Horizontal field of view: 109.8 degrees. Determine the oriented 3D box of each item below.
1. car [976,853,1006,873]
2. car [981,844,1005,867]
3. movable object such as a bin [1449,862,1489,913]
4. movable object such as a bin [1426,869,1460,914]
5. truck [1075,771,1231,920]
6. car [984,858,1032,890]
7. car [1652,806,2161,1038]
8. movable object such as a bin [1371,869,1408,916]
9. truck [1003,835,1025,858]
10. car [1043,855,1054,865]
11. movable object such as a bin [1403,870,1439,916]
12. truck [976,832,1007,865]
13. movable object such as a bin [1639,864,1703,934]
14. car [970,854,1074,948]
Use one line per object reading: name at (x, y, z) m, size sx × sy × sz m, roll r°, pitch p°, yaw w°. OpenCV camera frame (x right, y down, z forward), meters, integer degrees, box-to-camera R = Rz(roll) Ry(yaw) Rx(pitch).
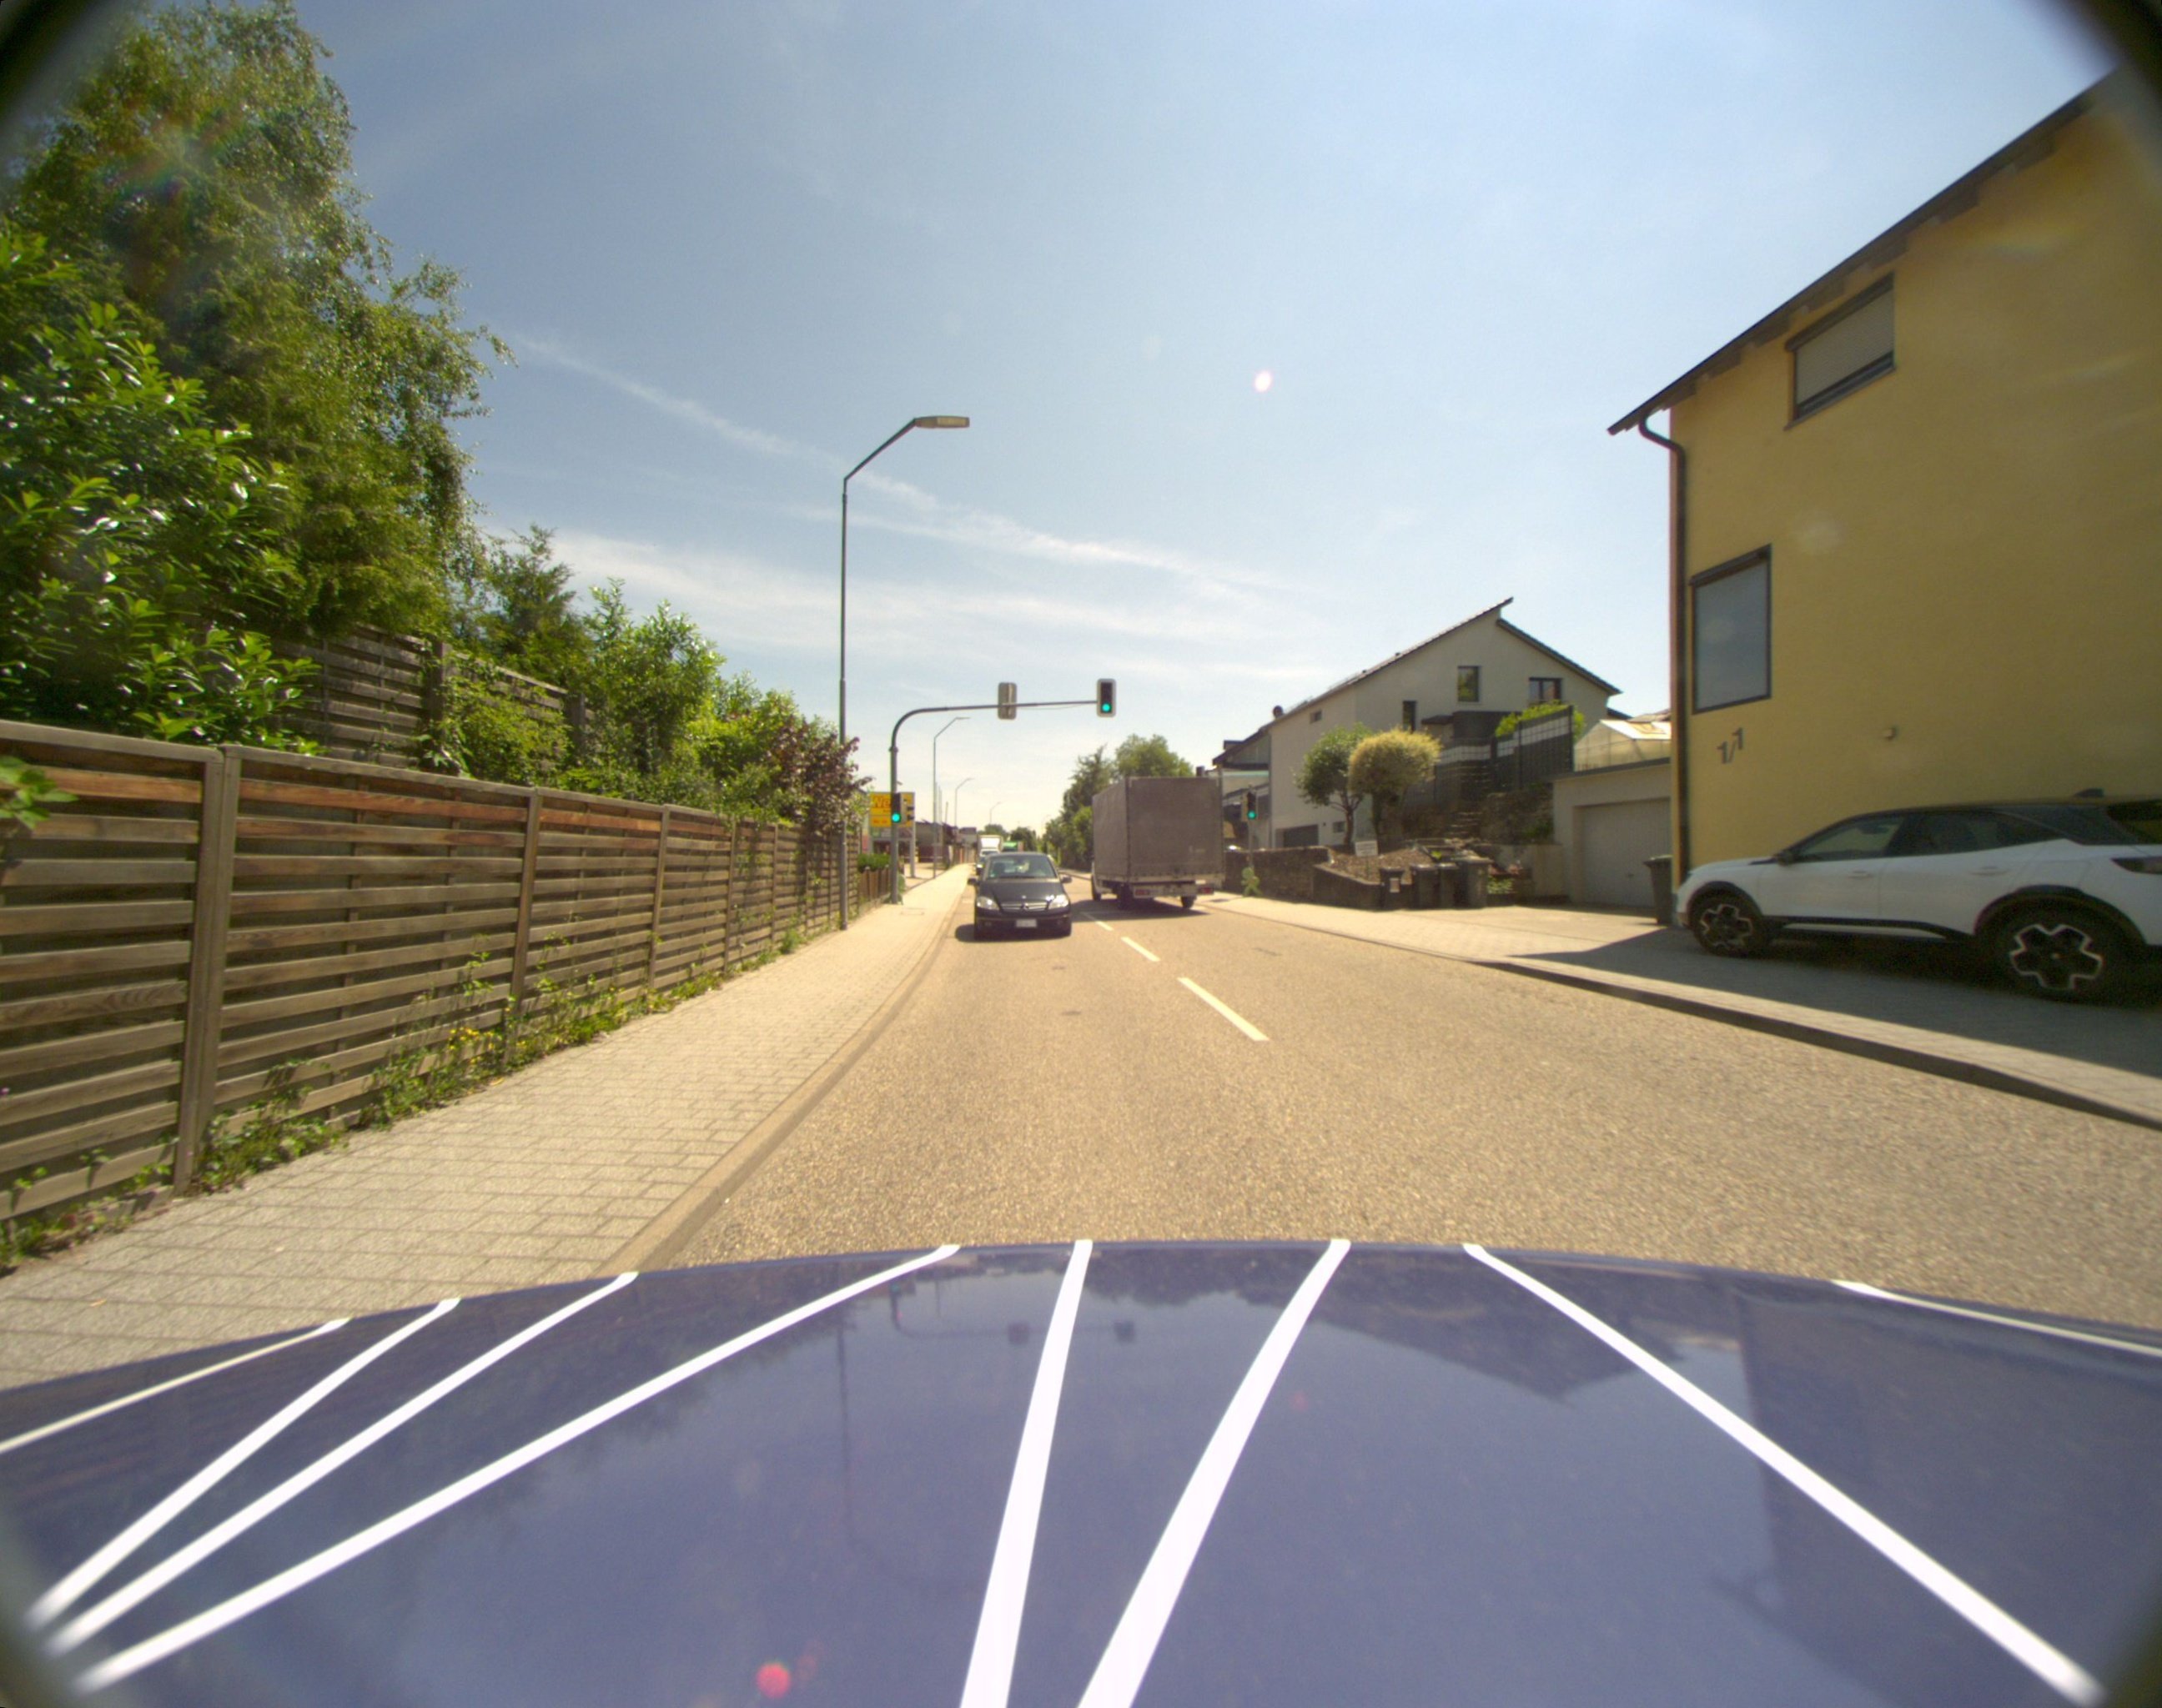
car at (-6.563, 0.634, 55.074) m, size 1.898 × 1.368 × 3.996 m, roll -1°, pitch 0°, yaw -10°
car at (-7.765, 0.142, 67.194) m, size 1.868 × 1.897 × 5.034 m, roll -2°, pitch 0°, yaw -5°
movable object such as a bin at (8.244, 0.700, 16.170) m, size 0.472 × 1.049 × 0.634 m, roll -2°, pitch 1°, yaw -7°
movable object such as a bin at (7.703, 0.788, 16.178) m, size 0.448 × 0.933 × 0.530 m, roll -1°, pitch 1°, yaw -7°
truck at (1.663, -0.210, 21.416) m, size 2.474 × 3.348 × 7.610 m, roll -3°, pitch 1°, yaw -9°
car at (-3.392, 0.872, 34.586) m, size 1.815 × 1.306 × 3.996 m, roll -1°, pitch 0°, yaw -10°
car at (7.844, 0.434, 7.014) m, size 1.735 × 1.543 × 4.186 m, roll -1°, pitch 0°, yaw -6°
movable object such as a bin at (6.491, 0.805, 16.021) m, size 0.502 × 0.942 × 0.553 m, roll -1°, pitch 1°, yaw -7°
truck at (-10.337, -1.112, 116.275) m, size 2.854 × 3.214 × 8.158 m, roll 3°, pitch 0°, yaw -7°
car at (-5.521, 0.982, 128.682) m, size 1.827 × 1.516 × 3.556 m, roll -1°, pitch 0°, yaw -4°
movable object such as a bin at (7.196, 0.812, 16.083) m, size 0.448 × 0.923 × 0.561 m, roll -1°, pitch 1°, yaw -7°
truck at (-10.301, -0.609, 88.048) m, size 3.205 × 3.578 × 8.302 m, roll 3°, pitch 0°, yaw -6°
movable object such as a bin at (9.099, 0.677, 11.733) m, size 0.502 × 1.037 × 0.607 m, roll -1°, pitch 1°, yaw -7°
car at (-1.274, 0.828, 15.433) m, size 1.765 × 1.583 × 4.195 m, roll -2°, pitch 0°, yaw -7°
